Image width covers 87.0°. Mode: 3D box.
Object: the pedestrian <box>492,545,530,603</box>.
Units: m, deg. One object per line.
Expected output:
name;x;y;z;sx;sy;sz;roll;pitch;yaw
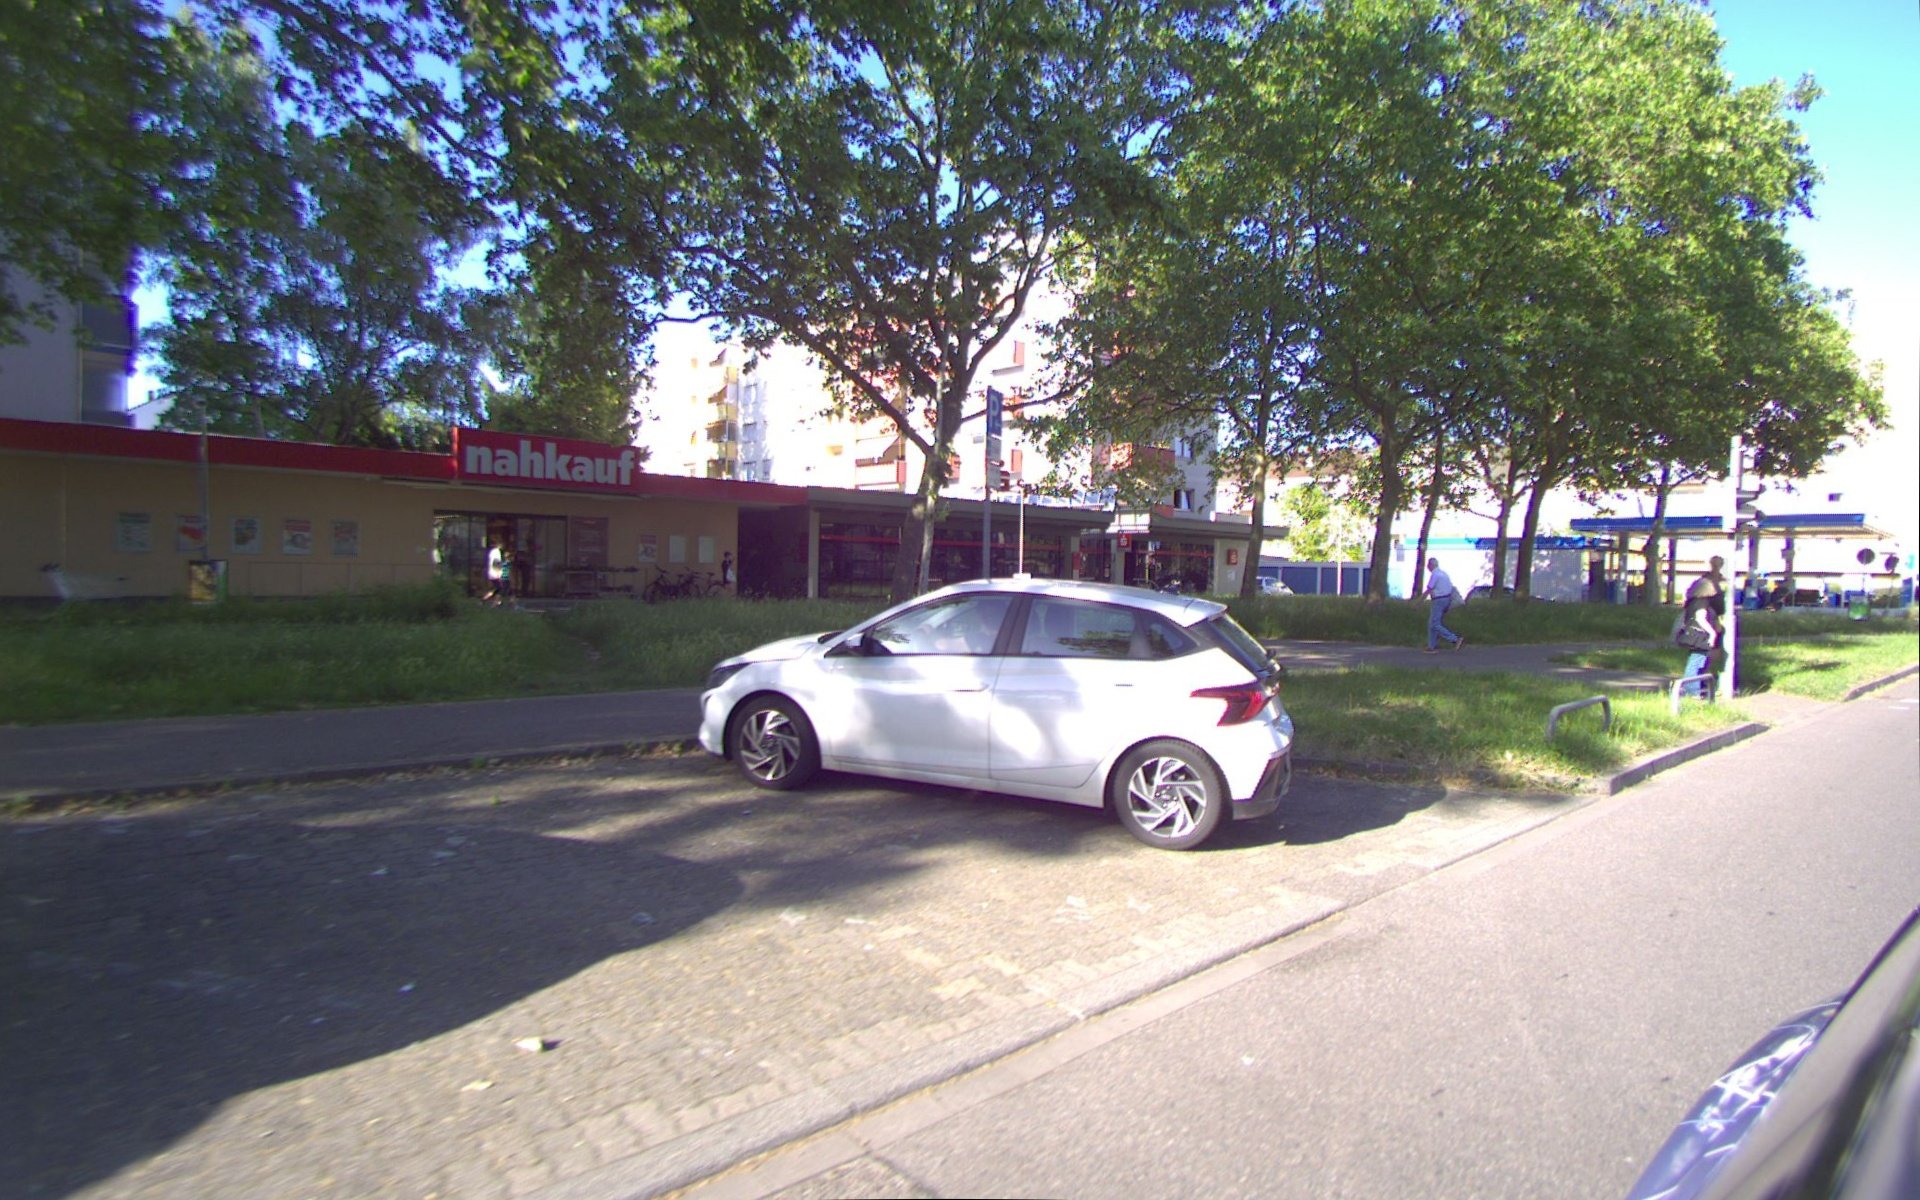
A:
pedestrian;-11.328;-0.657;25.541;0.531;1.448;0.704;2;1;45

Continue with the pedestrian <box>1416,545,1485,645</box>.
pedestrian;8.793;-0.104;18.134;0.816;1.743;0.843;0;2;-43

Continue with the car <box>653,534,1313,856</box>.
car;0.183;0.417;6.678;3.948;1.487;1.750;4;3;19

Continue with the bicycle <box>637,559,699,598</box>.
bicycle;-9.050;-0.651;31.421;1.812;1.194;0.600;0;1;-12

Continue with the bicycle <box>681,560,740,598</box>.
bicycle;-8.025;-0.669;32.539;1.812;1.194;0.600;0;1;-18

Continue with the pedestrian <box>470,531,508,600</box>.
pedestrian;-11.983;-0.882;25.748;0.495;1.721;0.704;2;1;45

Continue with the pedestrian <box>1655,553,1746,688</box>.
pedestrian;9.834;0.244;13.475;0.702;1.726;0.651;2;3;16

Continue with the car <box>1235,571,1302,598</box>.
car;17.917;-0.906;58.636;4.043;1.522;1.873;-1;2;-41

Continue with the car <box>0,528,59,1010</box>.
car;-4.940;0.428;2.786;3.940;1.447;1.792;4;3;14

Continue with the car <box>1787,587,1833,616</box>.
car;45.929;0.044;54.671;1.720;1.481;3.944;3;2;42

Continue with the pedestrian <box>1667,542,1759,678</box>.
pedestrian;10.975;0.125;14.750;0.911;1.908;0.800;0;1;-36

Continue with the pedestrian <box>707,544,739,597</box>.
pedestrian;-7.322;-0.904;31.273;0.671;1.604;0.704;2;1;45
